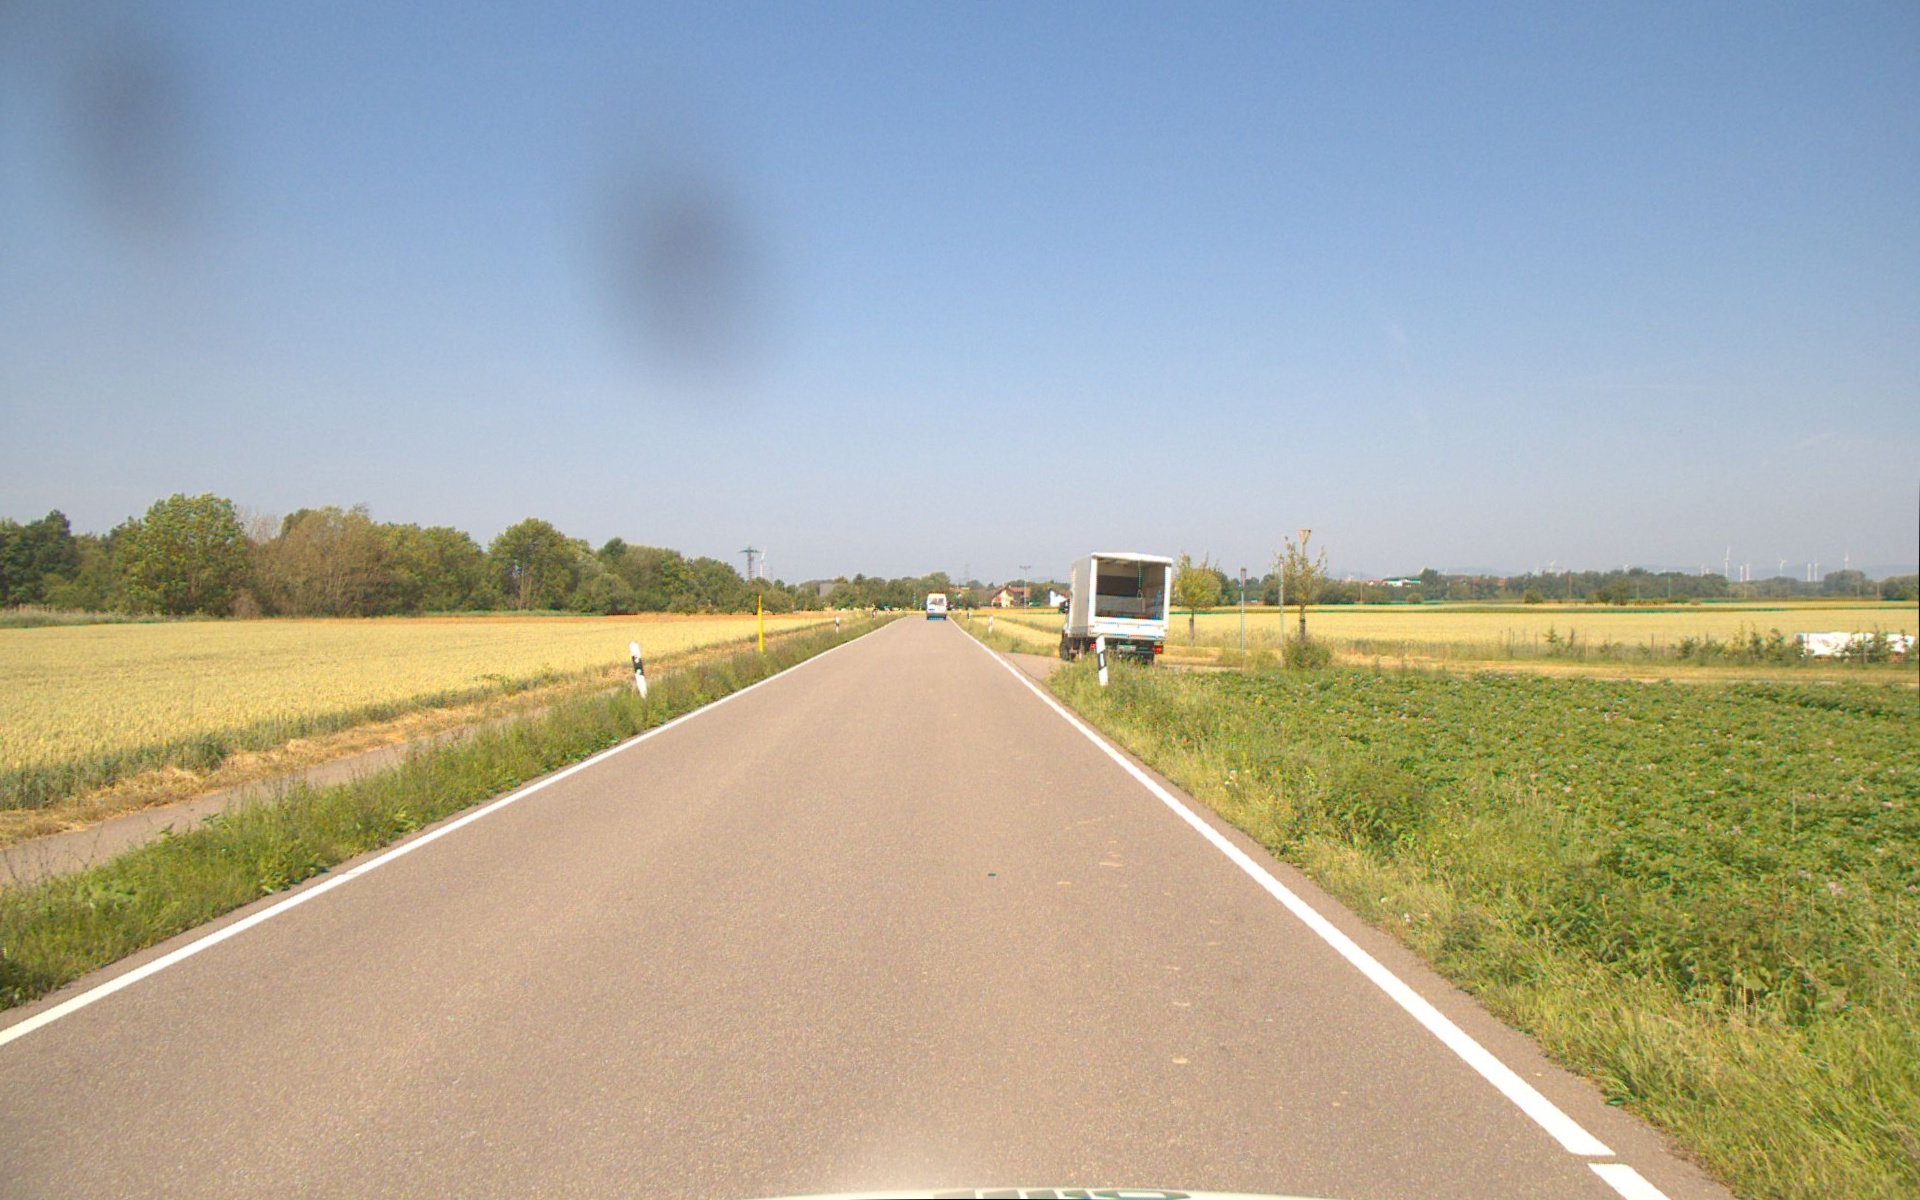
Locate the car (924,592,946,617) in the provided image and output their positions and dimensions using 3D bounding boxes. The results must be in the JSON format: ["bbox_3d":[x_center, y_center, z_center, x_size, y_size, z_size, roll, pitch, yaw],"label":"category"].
[{"bbox_3d":[-2.487,0.441,163.072,2.064,2.344,5.494,1,0,-1],"label":"car"}]

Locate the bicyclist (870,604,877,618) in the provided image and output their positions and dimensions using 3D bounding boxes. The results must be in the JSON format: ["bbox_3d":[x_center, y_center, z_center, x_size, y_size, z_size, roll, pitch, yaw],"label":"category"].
[{"bbox_3d":[-10.056,1.275,192.174,0.744,1.702,1.088,-2,-1,-1],"label":"bicyclist"}]

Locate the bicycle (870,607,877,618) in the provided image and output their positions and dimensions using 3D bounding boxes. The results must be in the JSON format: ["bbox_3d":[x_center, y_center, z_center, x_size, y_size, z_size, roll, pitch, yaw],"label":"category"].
[{"bbox_3d":[-10.054,1.488,192.220,0.744,1.257,2.393,-2,0,-1],"label":"bicycle"}]

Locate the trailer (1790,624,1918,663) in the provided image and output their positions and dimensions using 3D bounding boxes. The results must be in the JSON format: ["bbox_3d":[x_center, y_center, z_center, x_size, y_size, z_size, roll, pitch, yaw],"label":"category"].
[{"bbox_3d":[30.595,1.490,56.705,3.508,1.210,1.665,1,0,11],"label":"trailer"}]

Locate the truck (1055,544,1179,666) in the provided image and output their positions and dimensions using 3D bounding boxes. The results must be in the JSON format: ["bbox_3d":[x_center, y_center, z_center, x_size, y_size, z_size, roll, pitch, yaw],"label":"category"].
[{"bbox_3d":[4.190,0.158,45.577,2.289,2.994,7.004,3,0,-3],"label":"truck"}]
